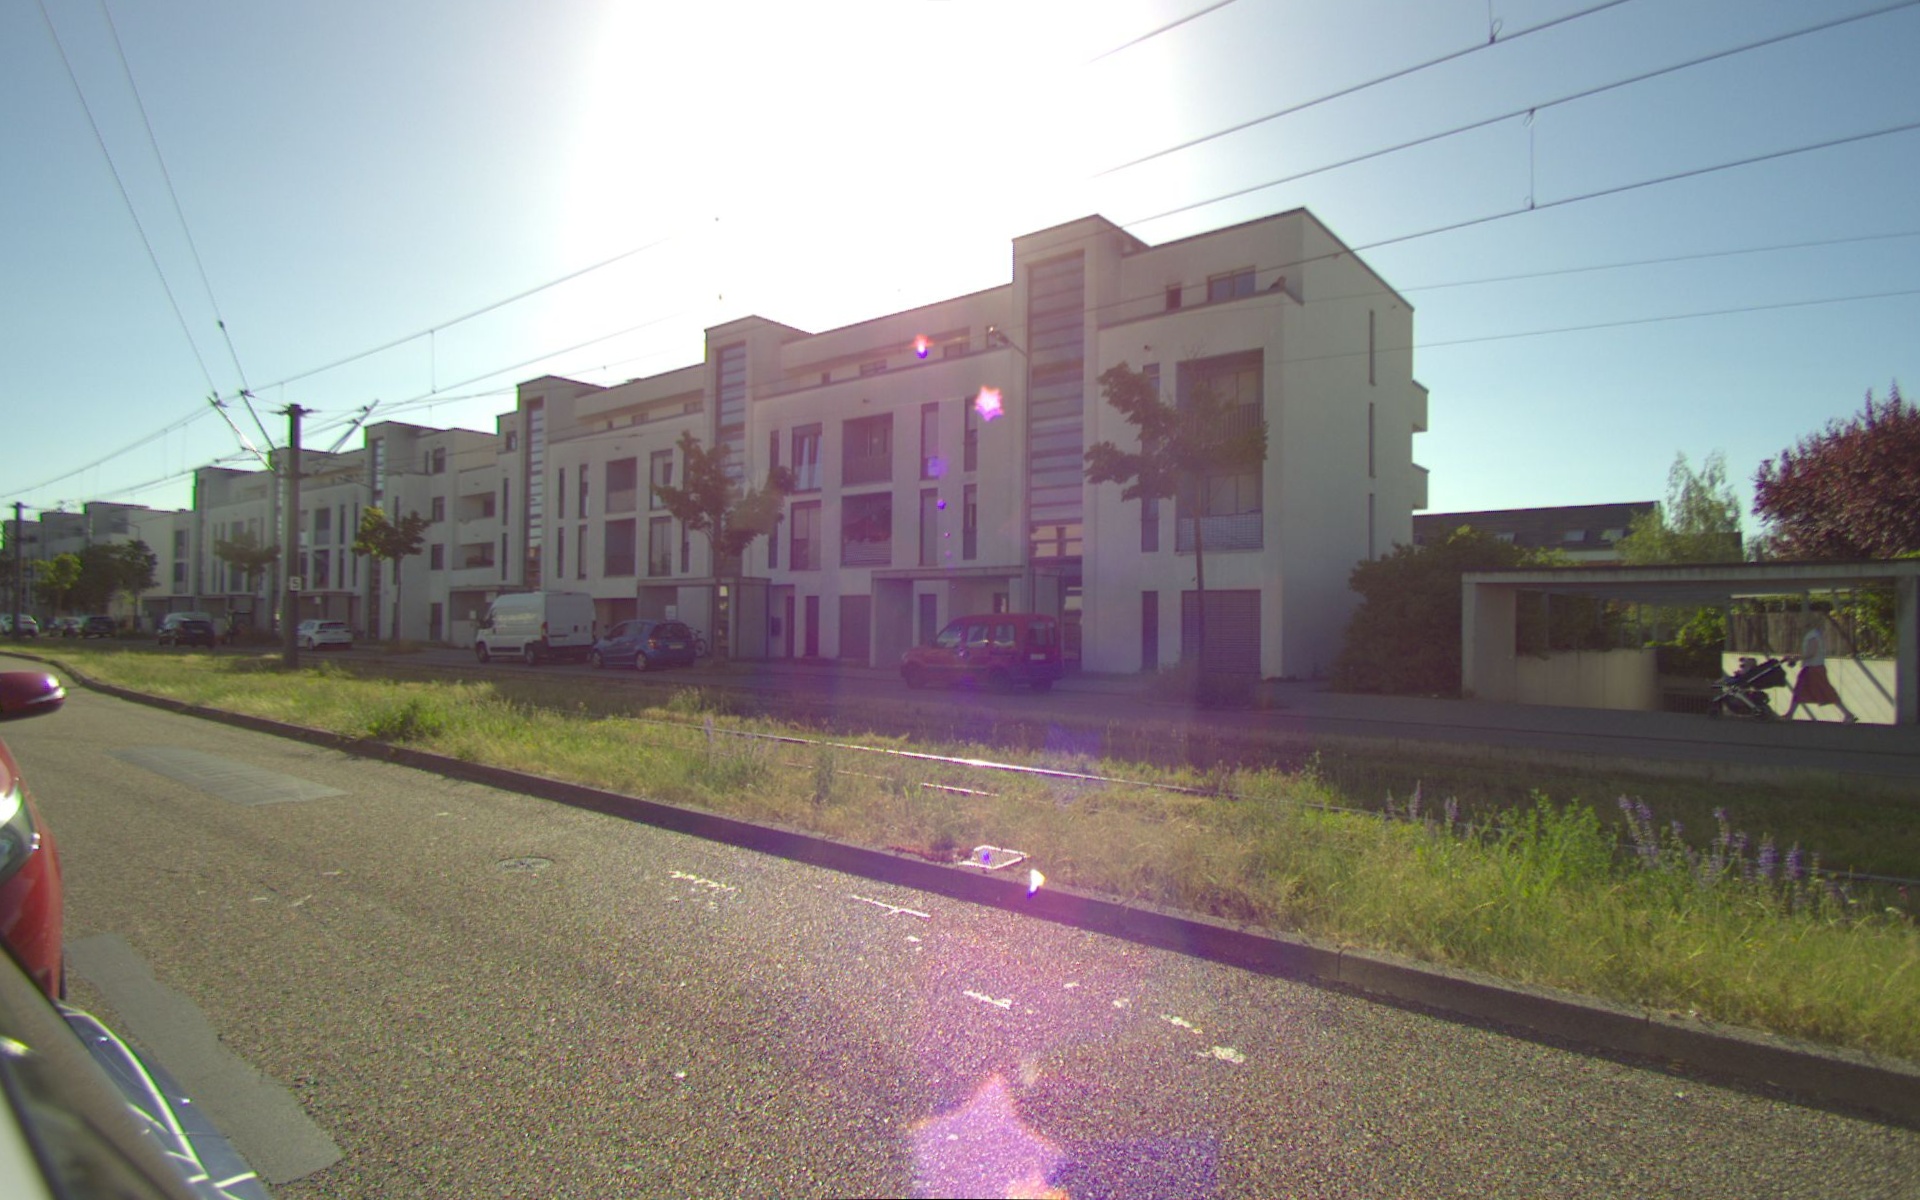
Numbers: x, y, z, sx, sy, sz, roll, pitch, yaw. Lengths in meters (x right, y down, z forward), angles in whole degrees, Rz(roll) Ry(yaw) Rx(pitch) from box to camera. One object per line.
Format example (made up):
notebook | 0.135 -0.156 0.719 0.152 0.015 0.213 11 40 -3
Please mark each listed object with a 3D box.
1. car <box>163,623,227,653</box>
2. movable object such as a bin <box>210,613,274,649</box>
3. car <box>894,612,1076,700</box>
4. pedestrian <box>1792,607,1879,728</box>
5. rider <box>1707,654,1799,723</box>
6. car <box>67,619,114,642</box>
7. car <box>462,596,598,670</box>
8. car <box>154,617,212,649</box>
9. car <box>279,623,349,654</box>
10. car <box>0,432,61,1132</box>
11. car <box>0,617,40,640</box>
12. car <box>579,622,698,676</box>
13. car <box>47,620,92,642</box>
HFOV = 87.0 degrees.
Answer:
car | -38.208 1.893 50.529 3.999 1.429 1.769 -1 -4 42
movable object such as a bin | -40.464 1.734 57.005 4.149 1.952 1.745 -1 -1 37
car | 0.510 1.211 23.005 3.836 1.809 1.861 -1 -1 42
pedestrian | 13.361 0.994 15.441 0.806 1.761 0.910 0 -1 -44
rider | 12.673 1.394 16.173 0.769 1.010 1.046 0 -1 -44
car | -63.068 2.183 73.399 4.149 1.611 1.745 -1 -1 37
car | -15.398 1.146 36.088 5.583 2.463 2.119 -1 -1 39
car | -47.304 1.991 61.577 4.149 1.884 1.745 -1 -1 37
car | -31.220 1.839 48.896 4.149 1.443 1.503 -1 -1 37
car | -5.175 0.556 3.913 5.203 1.948 1.954 -1 0 42
car | -69.870 2.132 74.851 4.641 1.608 1.974 -1 -4 39
car | -10.095 1.476 31.651 3.840 1.548 1.805 -1 -1 41
car | -67.588 2.325 76.768 4.149 1.611 1.745 -1 -1 37
